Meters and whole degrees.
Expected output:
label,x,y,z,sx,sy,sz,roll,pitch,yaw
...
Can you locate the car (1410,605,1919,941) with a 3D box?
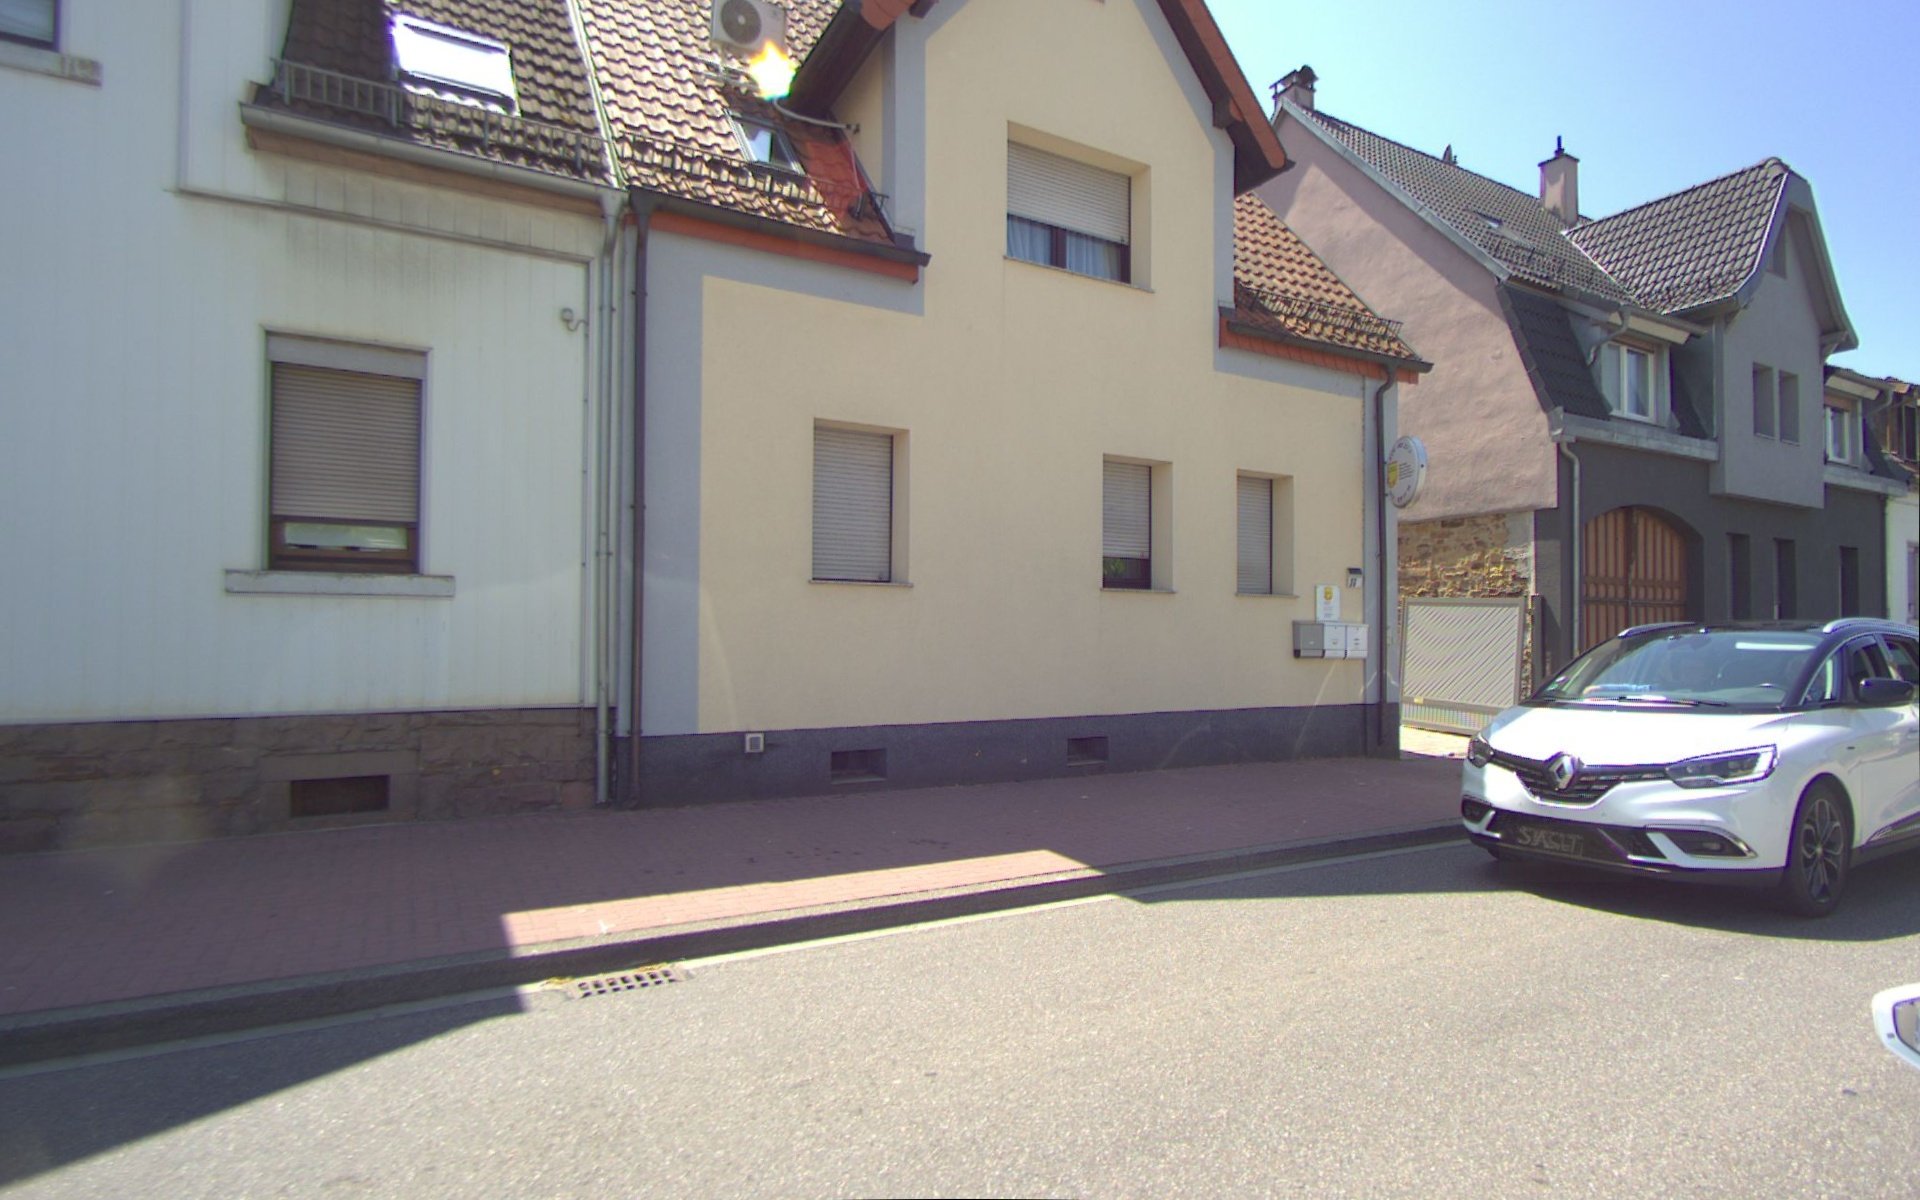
label,x,y,z,sx,sy,sz,roll,pitch,yaw
car,5.267,0.950,6.830,4.381,1.624,1.865,2,-4,-31
